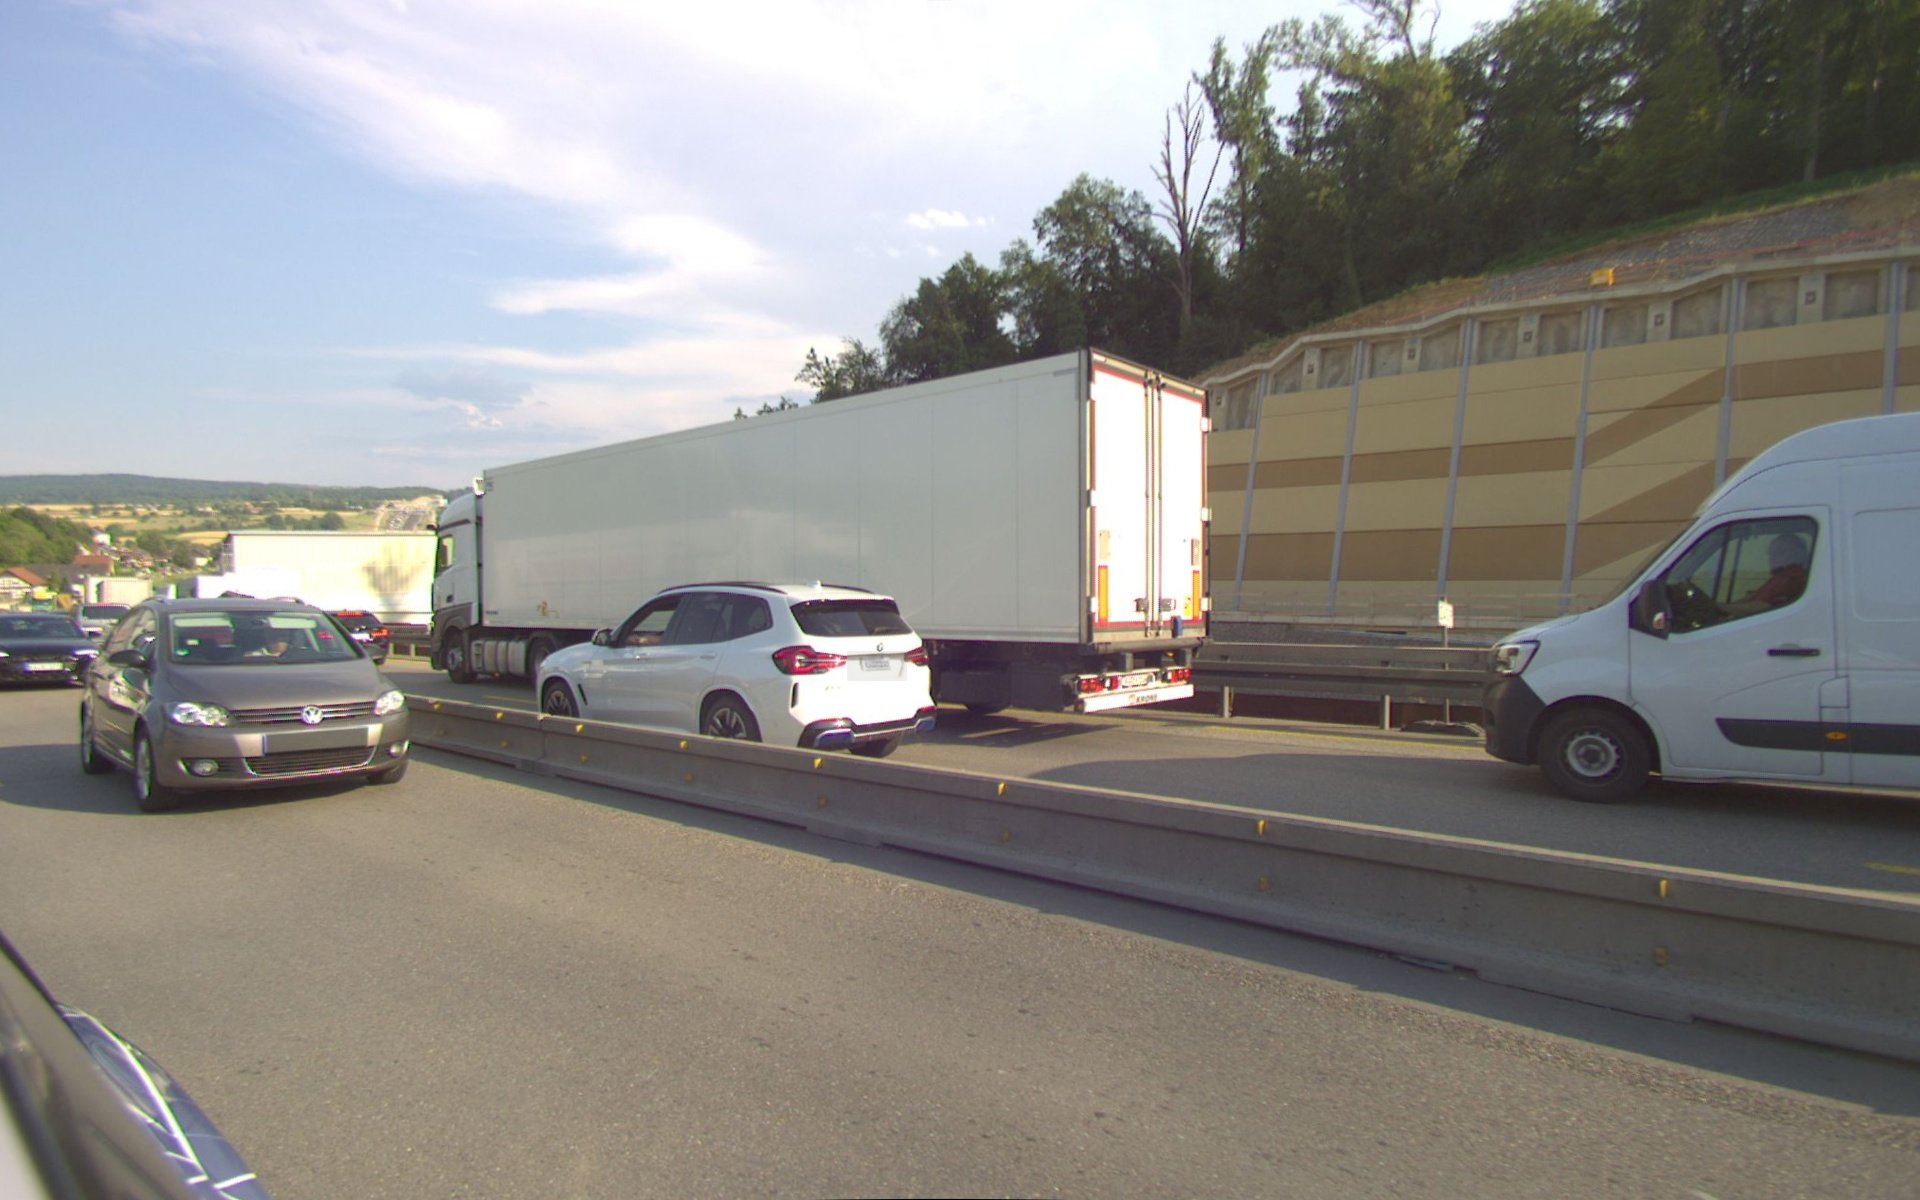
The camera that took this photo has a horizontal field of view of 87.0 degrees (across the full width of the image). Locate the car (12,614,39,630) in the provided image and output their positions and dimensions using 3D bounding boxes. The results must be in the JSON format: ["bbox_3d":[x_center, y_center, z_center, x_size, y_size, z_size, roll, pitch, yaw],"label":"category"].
[{"bbox_3d":[-100.054,2.334,108.319,4.756,1.591,1.797,-3,-4,44],"label":"car"}]

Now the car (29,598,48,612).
[{"bbox_3d":[-142.879,0.797,156.923,4.756,2.015,1.797,-3,-4,44],"label":"car"}]

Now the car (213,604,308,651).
[{"bbox_3d":[-23.606,0.886,34.081,4.610,1.433,1.729,-1,0,44],"label":"car"}]

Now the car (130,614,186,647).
[{"bbox_3d":[-40.416,1.499,50.961,4.004,1.535,1.744,-1,0,44],"label":"car"}]

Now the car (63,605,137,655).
[{"bbox_3d":[-33.570,1.193,39.442,1.784,1.785,5.455,0,-2,-45],"label":"car"}]

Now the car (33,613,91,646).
[{"bbox_3d":[-45.516,1.554,51.248,4.756,1.591,1.797,-3,-4,44],"label":"car"}]

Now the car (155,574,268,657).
[{"bbox_3d":[-29.372,0.585,39.584,7.635,2.940,2.308,0,-1,44],"label":"car"}]

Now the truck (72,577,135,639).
[{"bbox_3d":[-62.567,0.611,73.747,2.675,4.119,14.166,1,-1,-43],"label":"truck"}]

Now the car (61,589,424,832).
[{"bbox_3d":[-6.242,0.738,8.619,4.098,1.586,1.666,-1,0,42],"label":"car"}]

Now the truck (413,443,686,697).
[{"bbox_3d":[-8.136,-0.472,19.783,5.679,4.250,2.685,-1,-1,41],"label":"truck"}]

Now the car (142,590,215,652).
[{"bbox_3d":[-35.406,0.930,45.764,1.934,2.640,5.752,1,-1,-44],"label":"car"}]

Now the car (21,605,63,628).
[{"bbox_3d":[-68.365,1.245,75.323,2.034,1.498,4.729,4,-5,-44],"label":"car"}]

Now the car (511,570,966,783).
[{"bbox_3d":[-2.356,0.602,9.884,4.801,1.601,1.850,0,-2,41],"label":"car"}]

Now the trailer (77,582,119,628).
[{"bbox_3d":[-82.191,0.527,96.396,2.822,4.066,13.989,1,-1,-41],"label":"trailer"}]

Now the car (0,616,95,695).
[{"bbox_3d":[-18.442,1.030,19.916,4.002,1.409,1.841,0,-1,45],"label":"car"}]

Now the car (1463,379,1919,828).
[{"bbox_3d":[7.137,0.014,6.282,6.943,2.710,2.002,0,1,40],"label":"car"}]

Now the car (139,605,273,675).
[{"bbox_3d":[-19.198,0.992,25.705,4.454,1.580,1.868,-2,-1,42],"label":"car"}]

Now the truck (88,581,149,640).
[{"bbox_3d":[-52.469,0.676,63.018,2.418,3.489,7.624,0,-1,-43],"label":"truck"}]

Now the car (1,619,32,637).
[{"bbox_3d":[-87.817,2.661,94.156,4.756,1.591,1.797,-3,-4,44],"label":"car"}]

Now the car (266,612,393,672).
[{"bbox_3d":[-16.985,1.081,27.161,4.713,1.471,1.724,-2,-1,43],"label":"car"}]

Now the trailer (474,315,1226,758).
[{"bbox_3d":[-2.966,-0.543,15.265,13.741,4.250,2.693,-1,-1,41],"label":"trailer"}]
